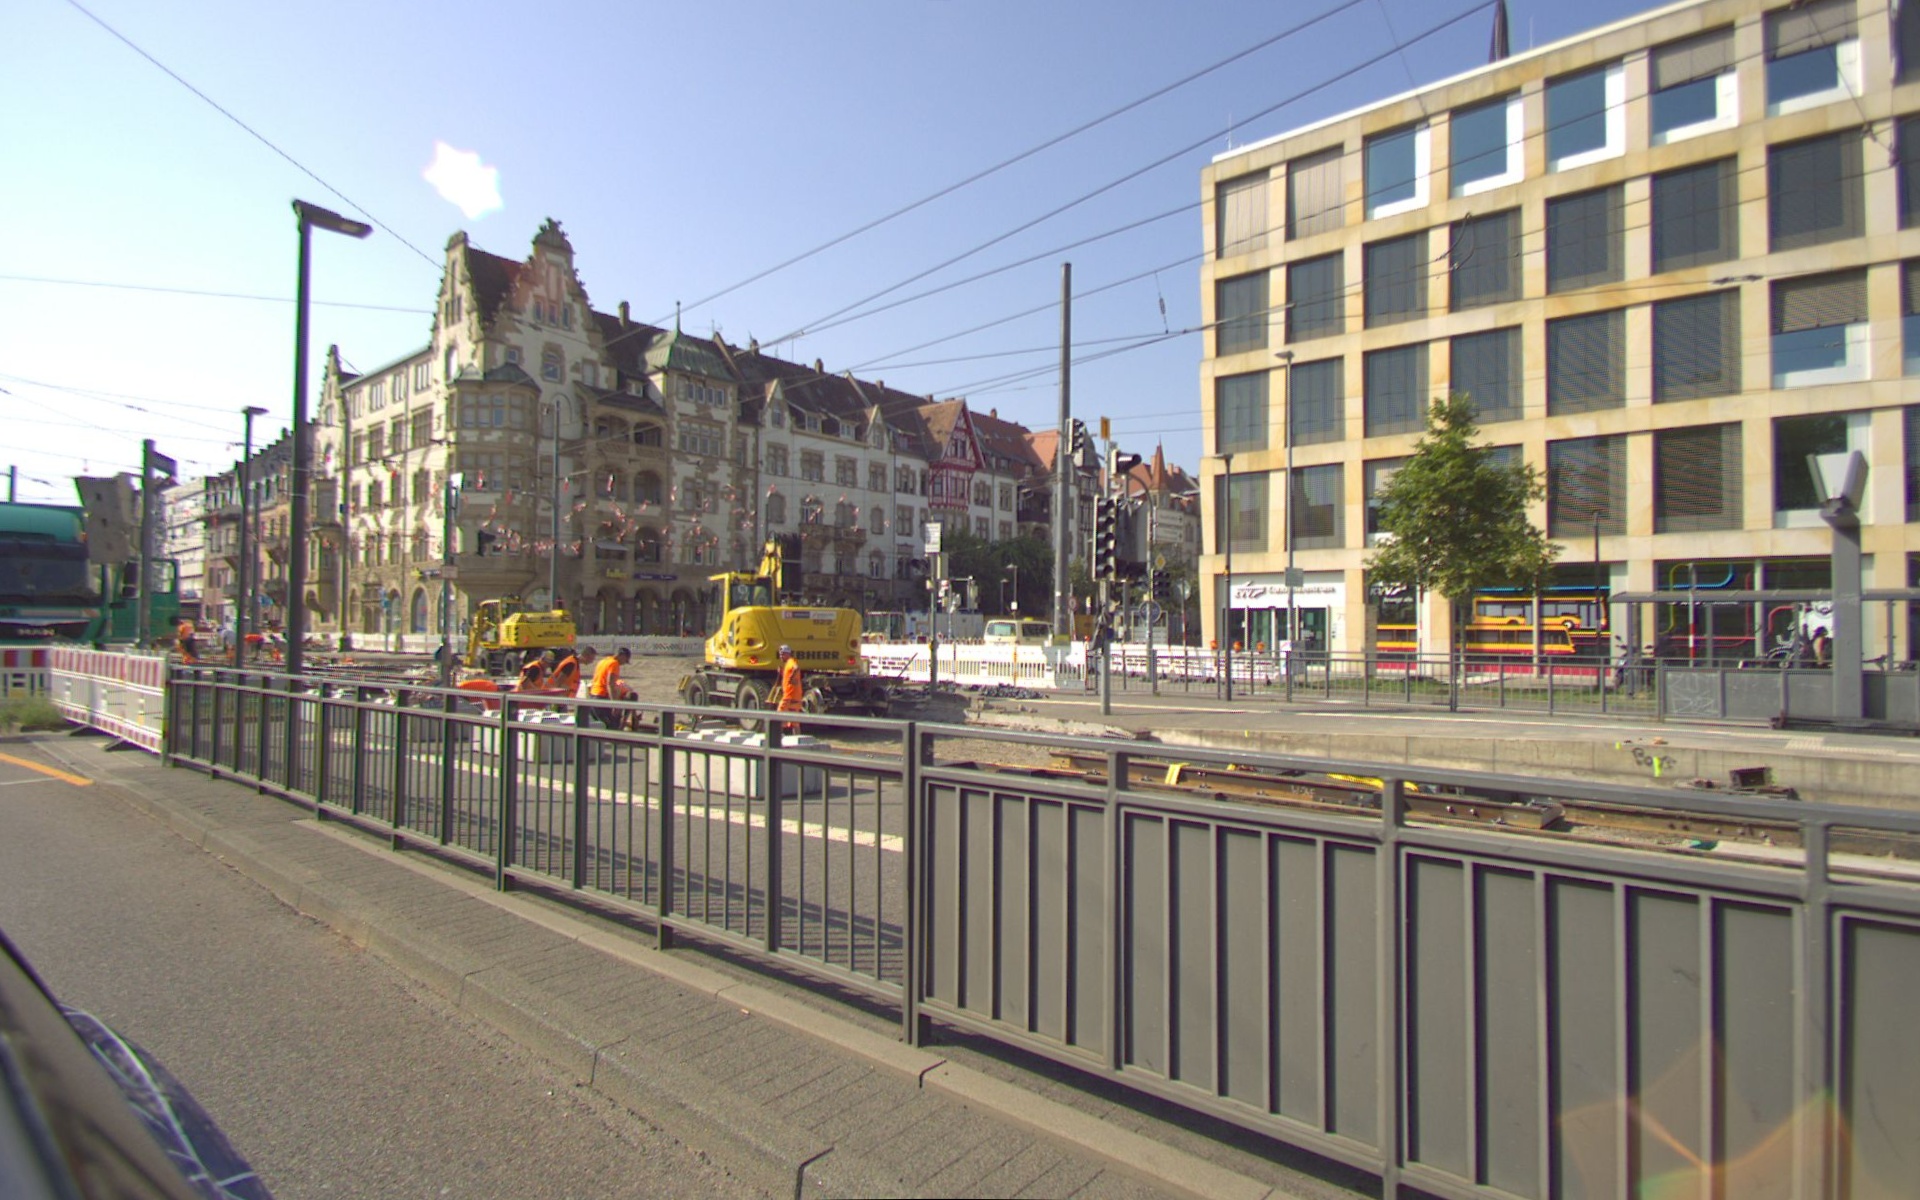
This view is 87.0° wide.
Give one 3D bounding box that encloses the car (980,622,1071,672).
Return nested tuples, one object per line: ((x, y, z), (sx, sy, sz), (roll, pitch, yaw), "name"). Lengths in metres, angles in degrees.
((2.916, 2.034, 44.037), (1.810, 2.046, 5.063), (-1, -3, 31), "car")

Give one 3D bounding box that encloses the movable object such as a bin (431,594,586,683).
((-18.942, 1.583, 42.159), (8.346, 3.355, 2.815), (-2, -3, 43), "movable object such as a bin")

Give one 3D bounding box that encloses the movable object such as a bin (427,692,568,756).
((-5.526, 1.460, 12.107), (1.484, 0.657, 0.703), (1, -3, -28), "movable object such as a bin")

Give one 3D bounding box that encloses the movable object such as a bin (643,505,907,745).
((-4.448, 0.627, 21.933), (3.454, 4.044, 9.070), (1, -3, -25), "movable object such as a bin")

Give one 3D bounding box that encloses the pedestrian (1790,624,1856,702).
((20.077, 1.449, 23.555), (1.123, 1.765, 0.966), (-2, -3, 41), "pedestrian")

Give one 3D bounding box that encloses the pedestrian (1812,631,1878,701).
((21.109, 1.559, 24.153), (1.123, 1.609, 0.966), (-2, -3, 41), "pedestrian")

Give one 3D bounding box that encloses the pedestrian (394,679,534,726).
((-8.158, 1.668, 16.697), (0.913, 0.641, 1.880), (-2, -3, 45), "pedestrian")

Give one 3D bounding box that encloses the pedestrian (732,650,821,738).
((-2.889, 1.447, 15.948), (0.983, 1.316, 1.003), (-2, -4, 45), "pedestrian")

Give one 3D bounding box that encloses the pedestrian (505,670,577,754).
((-6.409, 1.683, 15.463), (0.968, 1.199, 0.801), (1, -3, -24), "pedestrian")

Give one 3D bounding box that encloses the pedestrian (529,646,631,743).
((-5.438, 1.326, 14.476), (1.293, 1.316, 0.801), (1, -3, -24), "pedestrian")

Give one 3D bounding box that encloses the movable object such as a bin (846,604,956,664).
((-2.803, 1.683, 49.496), (2.134, 2.760, 5.554), (-1, -3, 41), "movable object such as a bin")

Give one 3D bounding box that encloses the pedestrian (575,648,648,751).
((-4.685, 1.309, 13.590), (0.825, 1.316, 0.801), (1, -3, -24), "pedestrian")

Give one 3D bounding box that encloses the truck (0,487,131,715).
((-18.837, 0.111, 18.968), (8.188, 3.706, 2.653), (-1, -3, 33), "truck")
